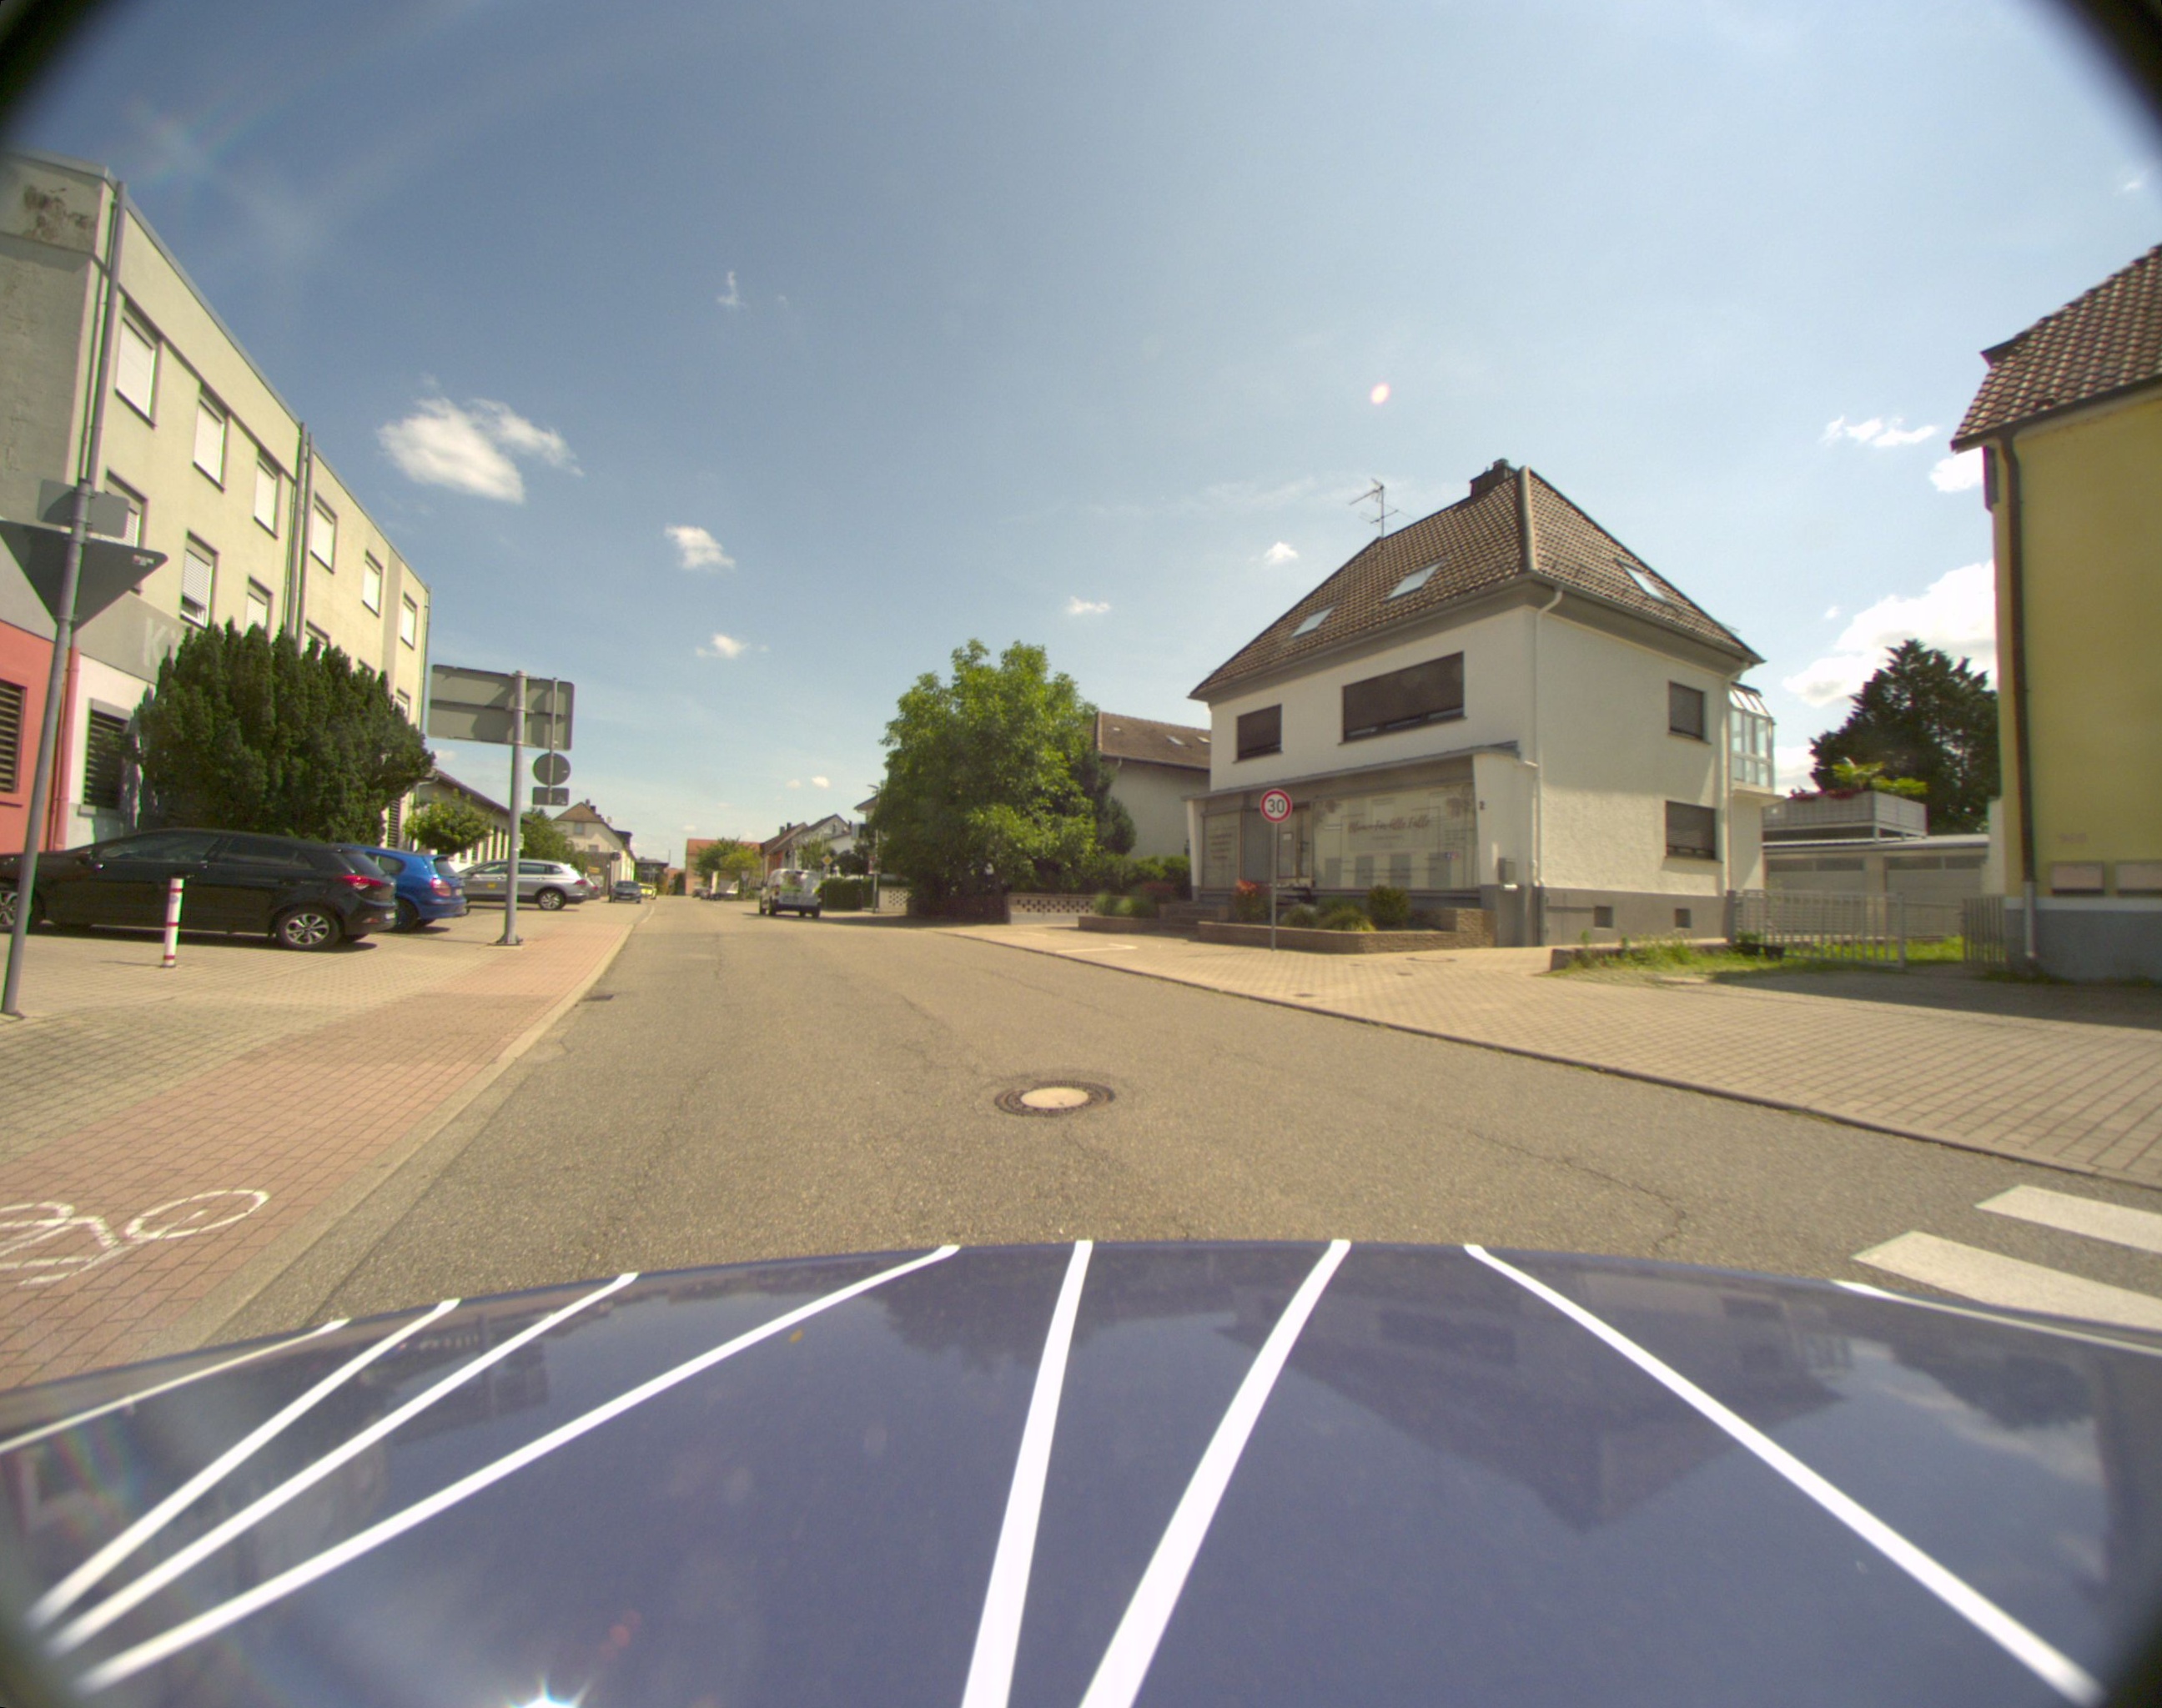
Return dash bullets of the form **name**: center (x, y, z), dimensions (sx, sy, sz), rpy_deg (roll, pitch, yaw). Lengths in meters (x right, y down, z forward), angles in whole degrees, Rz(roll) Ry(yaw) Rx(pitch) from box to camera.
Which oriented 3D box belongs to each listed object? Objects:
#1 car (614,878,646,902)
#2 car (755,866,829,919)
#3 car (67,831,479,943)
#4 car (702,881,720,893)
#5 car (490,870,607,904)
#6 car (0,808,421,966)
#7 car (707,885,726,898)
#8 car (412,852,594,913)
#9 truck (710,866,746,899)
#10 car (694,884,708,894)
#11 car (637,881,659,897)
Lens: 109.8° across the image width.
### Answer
- **car**: center (-29.288, 2.333, 49.360), dimensions (1.636, 1.479, 4.131), rpy_deg (4, -4, -30)
- **car**: center (-11.483, 1.517, 30.011), dimensions (1.822, 1.842, 4.550), rpy_deg (7, -5, -31)
- **car**: center (-13.217, 0.594, 12.899), dimensions (4.346, 1.430, 1.775), rpy_deg (7, -3, -29)
- **car**: center (-49.214, 4.393, 100.979), dimensions (1.725, 1.490, 4.206), rpy_deg (6, -5, -29)
- **car**: center (-26.731, 1.701, 38.370), dimensions (4.550, 1.444, 1.914), rpy_deg (5, -4, -29)
- **car**: center (-11.622, 0.473, 10.057), dimensions (3.917, 1.480, 1.806), rpy_deg (10, -6, -30)
- **car**: center (-45.856, 4.655, 95.537), dimensions (1.725, 1.490, 4.206), rpy_deg (6, -5, -29)
- **car**: center (-18.820, 0.993, 25.073), dimensions (4.477, 1.686, 1.919), rpy_deg (5, -4, -31)
- **truck**: center (-38.870, 3.145, 83.535), dimensions (2.451, 3.224, 7.021), rpy_deg (7, -6, -31)
- **car**: center (-63.794, 5.931, 127.583), dimensions (1.725, 1.490, 4.206), rpy_deg (6, -5, -29)
- **car**: center (-43.063, 3.484, 75.659), dimensions (1.725, 1.388, 4.207), rpy_deg (7, -6, -28)
